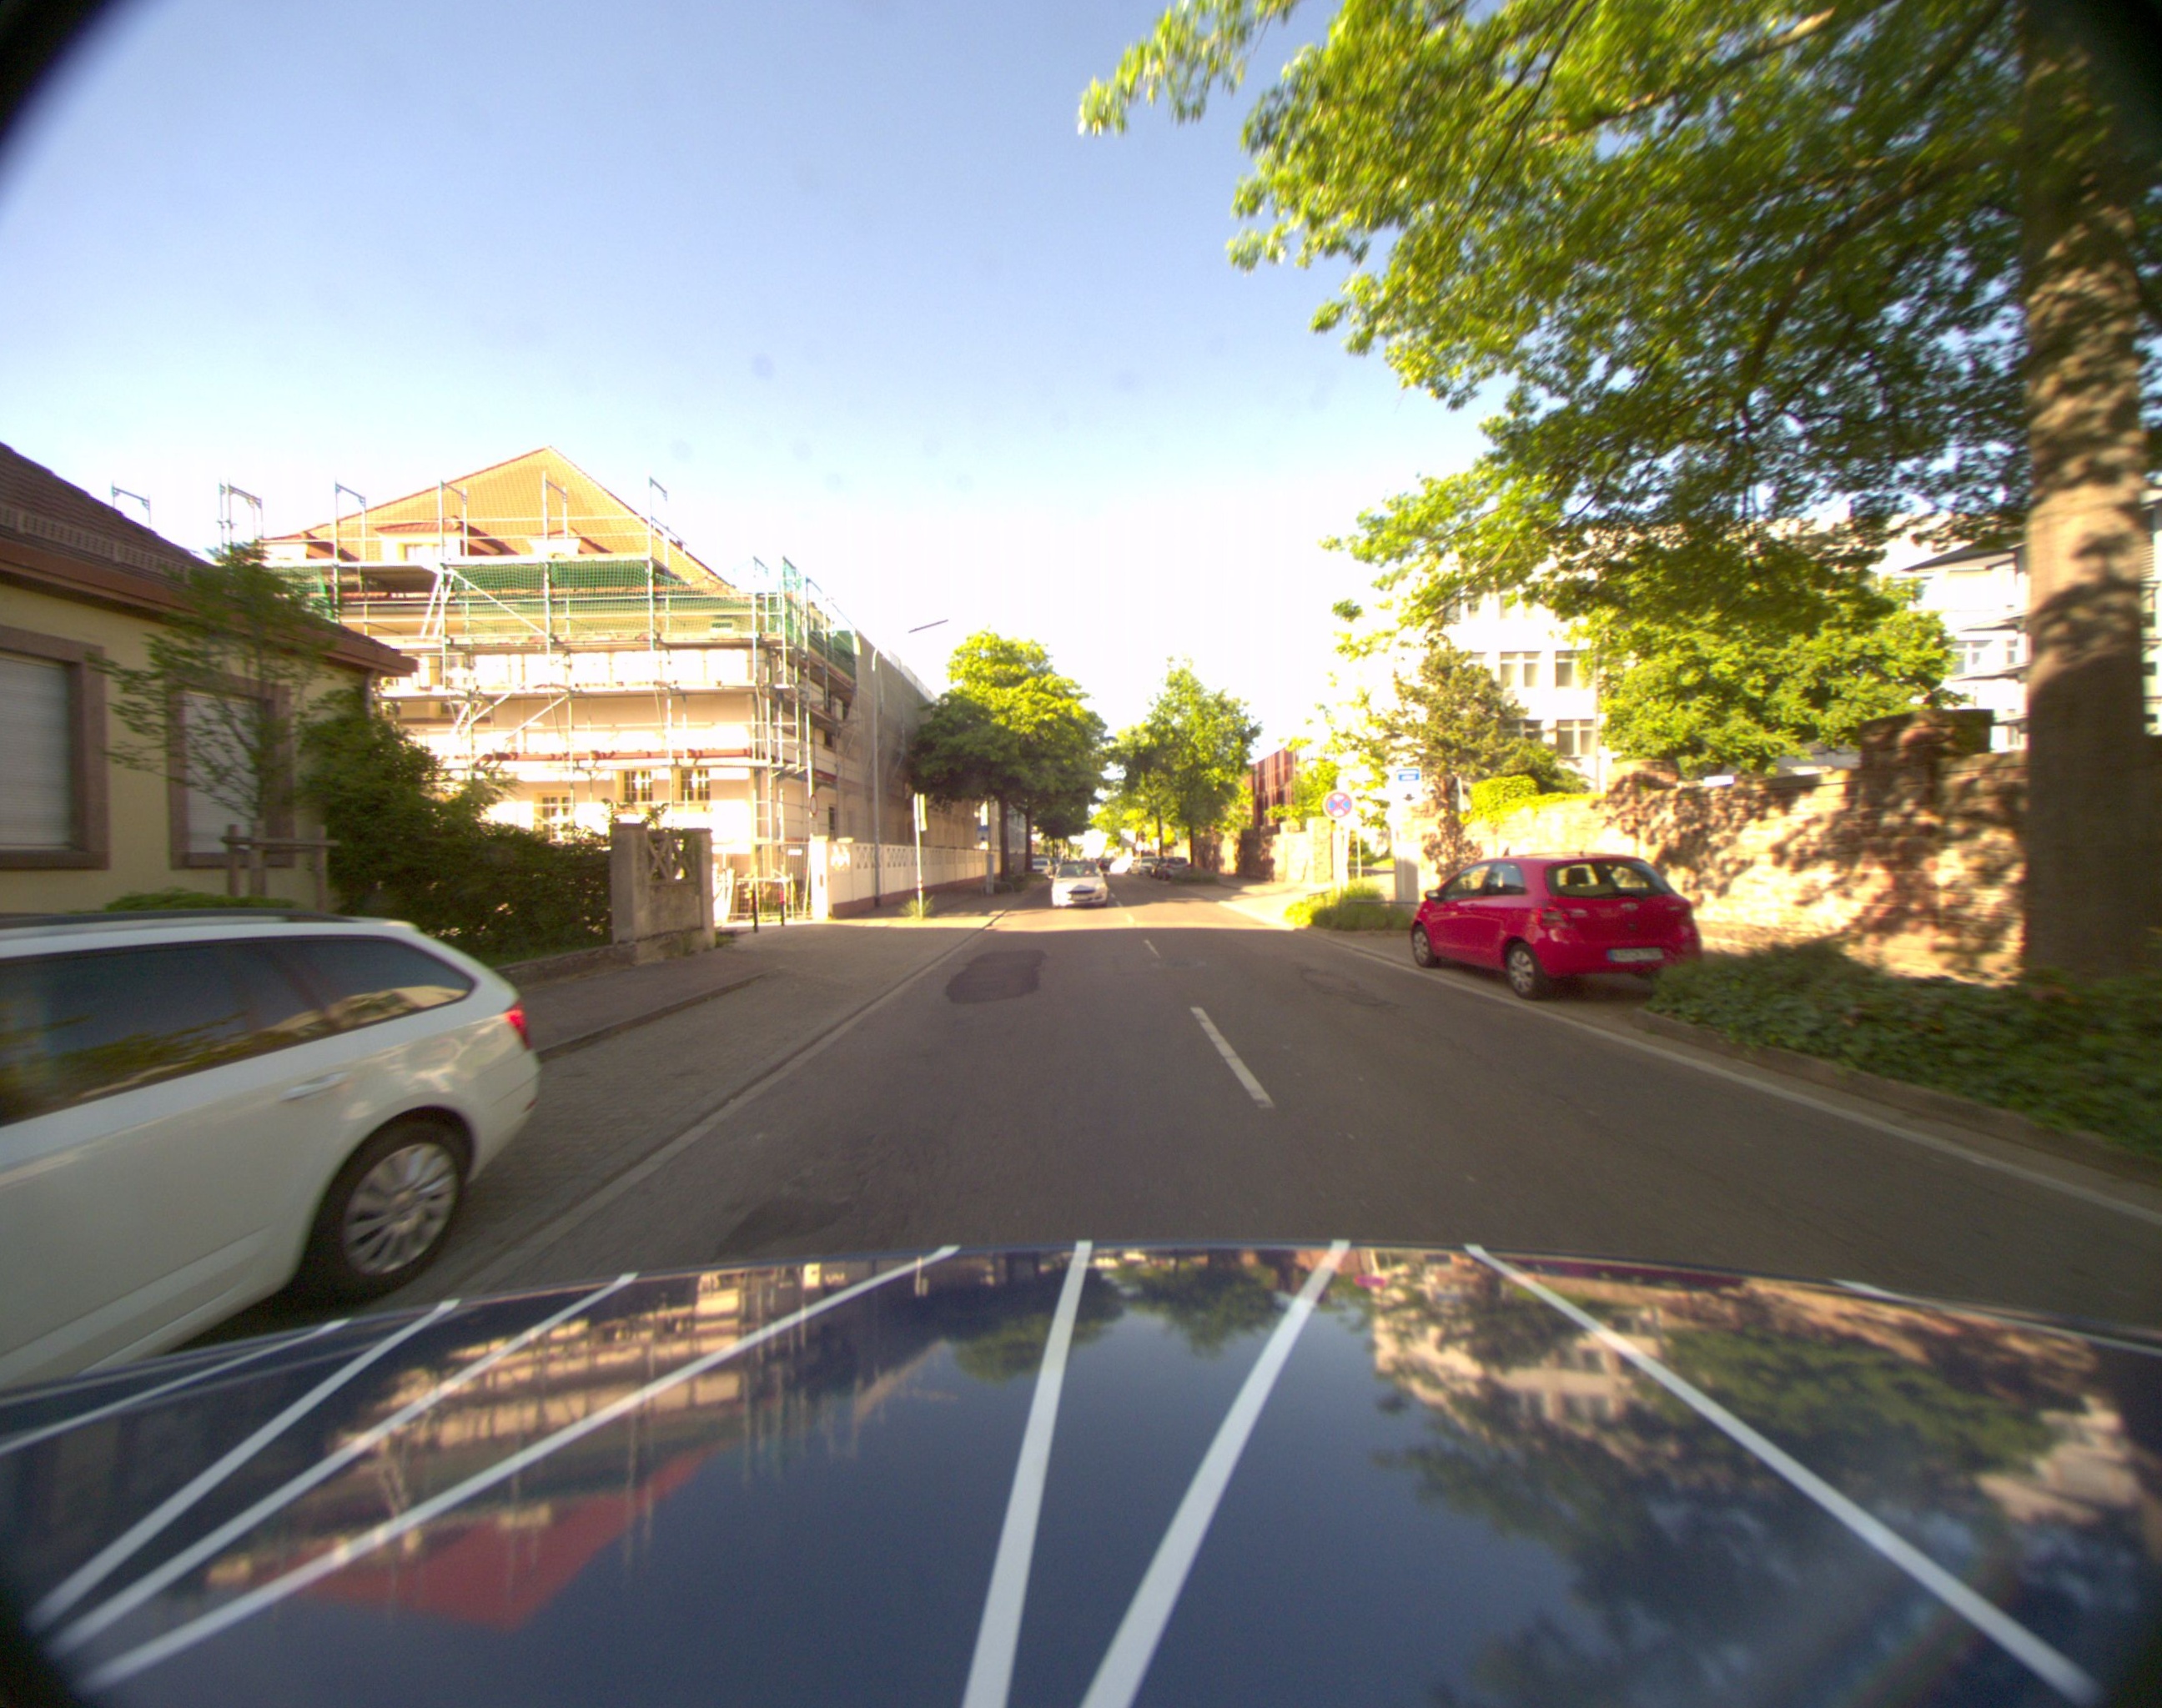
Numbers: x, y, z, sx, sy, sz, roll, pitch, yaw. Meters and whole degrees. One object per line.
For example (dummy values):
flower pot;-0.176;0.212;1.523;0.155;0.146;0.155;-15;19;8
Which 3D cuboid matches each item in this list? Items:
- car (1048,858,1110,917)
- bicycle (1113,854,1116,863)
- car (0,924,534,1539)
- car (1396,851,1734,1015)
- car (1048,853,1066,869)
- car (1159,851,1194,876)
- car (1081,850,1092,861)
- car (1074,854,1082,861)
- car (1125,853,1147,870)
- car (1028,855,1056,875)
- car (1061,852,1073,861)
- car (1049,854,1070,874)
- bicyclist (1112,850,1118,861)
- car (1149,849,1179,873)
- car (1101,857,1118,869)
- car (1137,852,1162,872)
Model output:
car;0.002;0.998;24.597;1.748;1.613;4.106;-3;0;2
bicycle;4.585;0.580;103.377;0.358;1.114;1.866;-3;0;2
car;-3.537;1.011;1.370;1.837;1.315;4.495;-1;0;0
car;5.318;0.736;8.987;1.613;1.450;3.708;-3;0;1
car;-2.578;0.748;82.727;1.797;1.606;4.126;-2;0;-1
car;5.928;0.544;47.644;1.691;1.413;3.838;-3;0;0
car;0.921;0.242;137.119;1.834;1.732;3.999;-3;0;-1
car;-0.636;0.865;172.053;1.757;1.459;3.485;-3;0;-1
car;5.048;0.661;70.275;1.578;1.394;3.750;-5;0;0
car;-2.936;0.804;57.739;1.727;1.501;3.993;0;0;3
car;-2.422;0.390;133.195;1.887;1.592;4.298;-1;0;1
car;-1.892;0.858;66.947;1.716;1.629;4.302;-1;0;-1
bicyclist;4.562;0.180;103.314;0.722;1.513;1.005;-3;1;3
car;5.739;0.461;52.978;1.577;1.506;4.044;-2;0;0
car;3.308;1.024;88.826;1.826;1.427;3.969;1;0;1
car;5.786;0.621;64.357;1.681;1.502;3.849;-4;0;1
